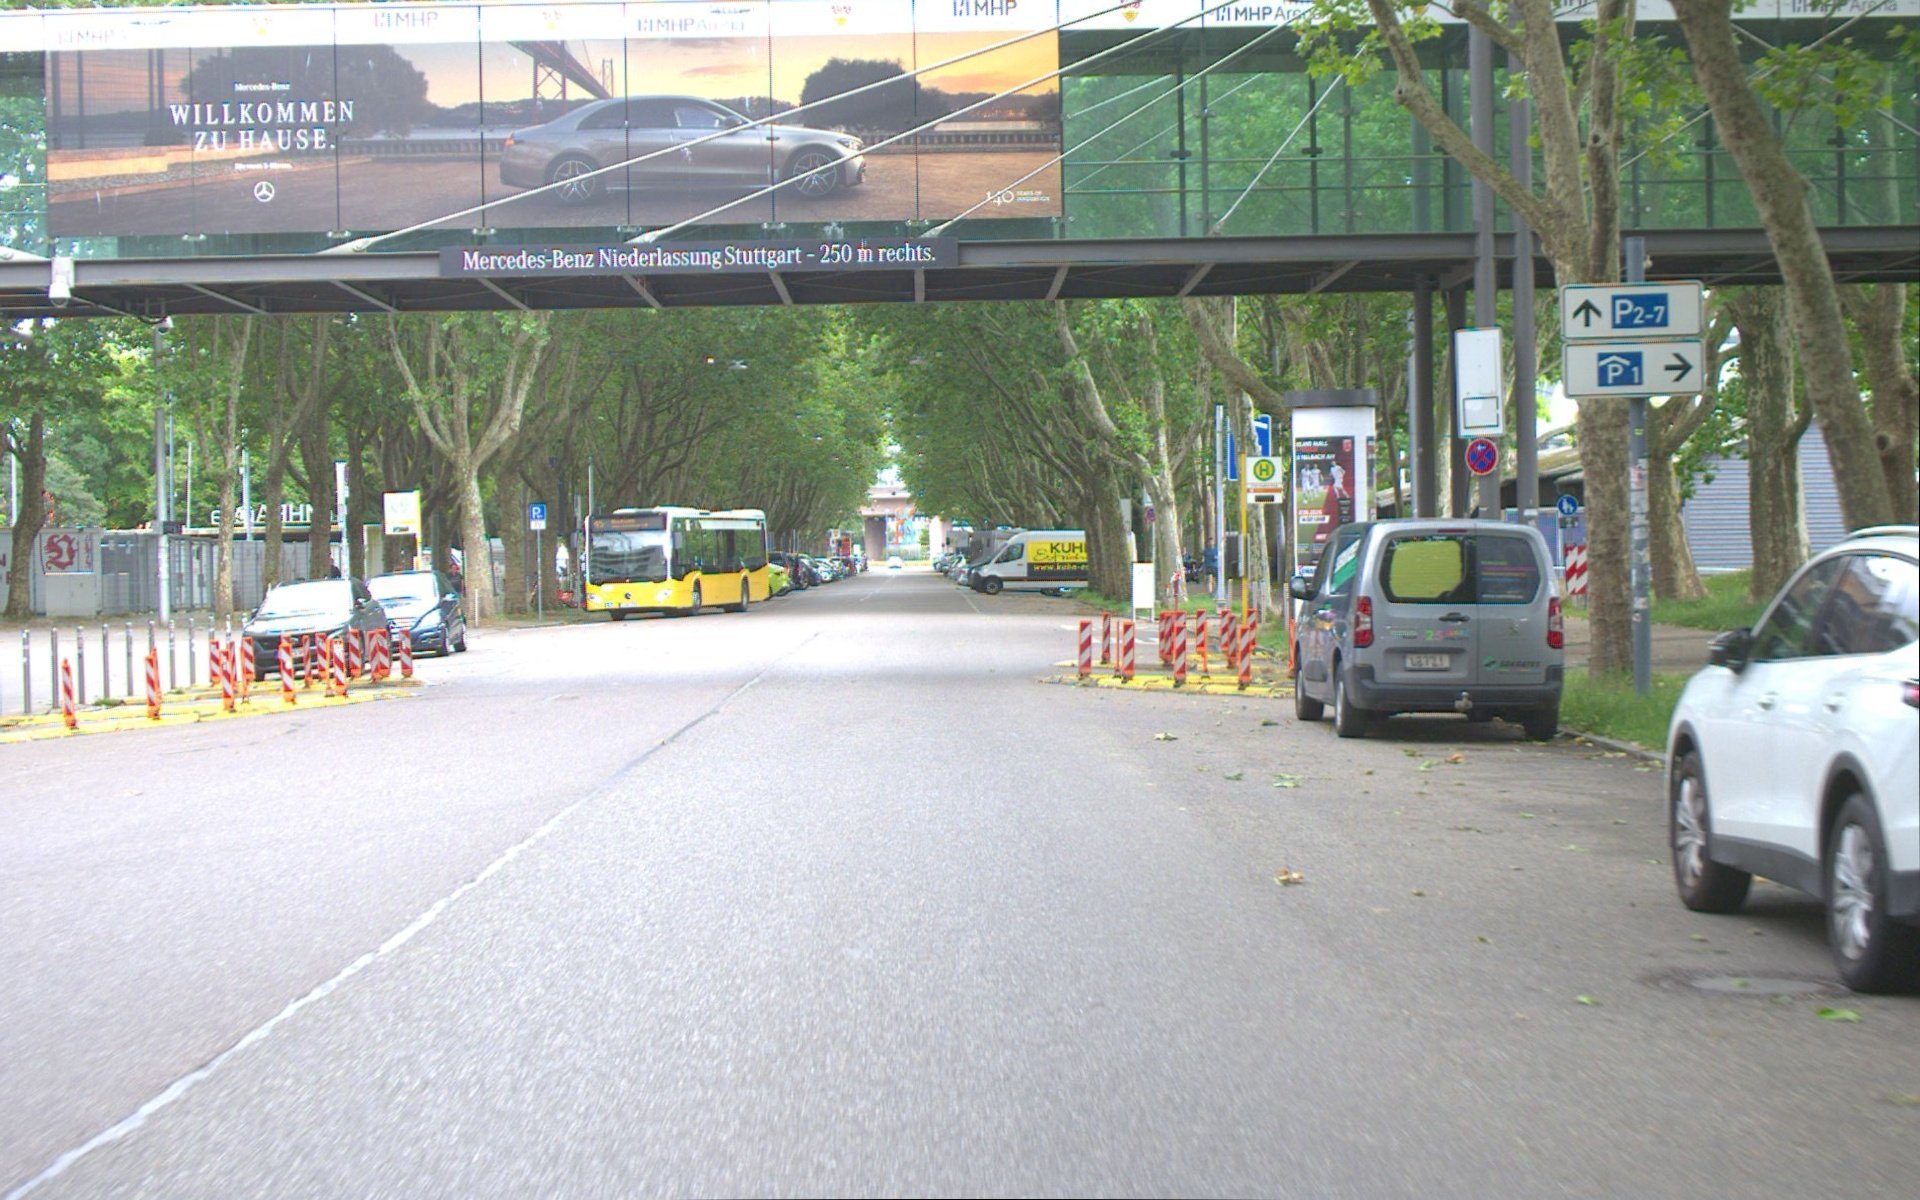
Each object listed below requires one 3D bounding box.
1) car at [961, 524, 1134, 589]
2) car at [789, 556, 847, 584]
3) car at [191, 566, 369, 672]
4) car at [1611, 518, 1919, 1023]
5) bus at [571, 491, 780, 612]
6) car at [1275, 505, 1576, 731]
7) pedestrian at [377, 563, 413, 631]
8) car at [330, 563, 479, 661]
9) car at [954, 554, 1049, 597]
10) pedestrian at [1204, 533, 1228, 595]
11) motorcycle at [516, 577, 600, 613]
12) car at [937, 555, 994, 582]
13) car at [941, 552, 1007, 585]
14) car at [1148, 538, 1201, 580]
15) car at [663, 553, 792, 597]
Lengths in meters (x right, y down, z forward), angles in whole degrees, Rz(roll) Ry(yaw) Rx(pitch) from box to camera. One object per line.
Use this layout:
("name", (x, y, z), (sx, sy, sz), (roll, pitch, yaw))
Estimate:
("car", (3.527, -1.780, 139.760), (6.822, 2.505, 2.317), (-1, 1, -2))
("car", (-10.069, -2.127, 243.753), (3.987, 1.963, 2.000), (-1, 1, 0))
("car", (-10.690, 0.263, 54.320), (1.858, 1.448, 4.449), (-4, 1, 0))
("car", (3.959, 0.505, 13.366), (1.914, 1.612, 4.749), (-1, 1, 0))
("bus", (-8.074, -1.445, 99.891), (3.039, 3.149, 12.673), (-3, 1, 9))
("car", (3.915, 0.112, 29.773), (1.847, 1.777, 5.211), (0, 1, 0))
("pedestrian", (-13.402, -0.066, 81.493), (0.667, 1.598, 0.611), (-1, 0, -26))
("car", (-10.133, 0.184, 62.972), (1.993, 1.579, 4.113), (-4, 1, 0))
("car", (1.773, -1.049, 147.215), (3.987, 1.788, 1.543), (-1, 1, -1))
("pedestrian", (7.885, -1.112, 105.930), (0.572, 1.881, 0.617), (-1, 0, -9))
("motorcycle", (-13.008, -0.157, 111.293), (2.591, 1.119, 0.704), (-1, 1, -24))
("car", (0.389, -2.237, 243.565), (3.987, 1.855, 1.637), (-1, 1, 0))
("car", (0.768, -1.776, 193.004), (3.621, 1.788, 1.543), (-1, 1, -1))
("car", (9.196, -1.751, 147.895), (1.993, 1.766, 4.000), (-1, 1, 0))
("car", (-8.740, -0.938, 129.746), (4.700, 1.579, 1.864), (-1, 1, 1))
